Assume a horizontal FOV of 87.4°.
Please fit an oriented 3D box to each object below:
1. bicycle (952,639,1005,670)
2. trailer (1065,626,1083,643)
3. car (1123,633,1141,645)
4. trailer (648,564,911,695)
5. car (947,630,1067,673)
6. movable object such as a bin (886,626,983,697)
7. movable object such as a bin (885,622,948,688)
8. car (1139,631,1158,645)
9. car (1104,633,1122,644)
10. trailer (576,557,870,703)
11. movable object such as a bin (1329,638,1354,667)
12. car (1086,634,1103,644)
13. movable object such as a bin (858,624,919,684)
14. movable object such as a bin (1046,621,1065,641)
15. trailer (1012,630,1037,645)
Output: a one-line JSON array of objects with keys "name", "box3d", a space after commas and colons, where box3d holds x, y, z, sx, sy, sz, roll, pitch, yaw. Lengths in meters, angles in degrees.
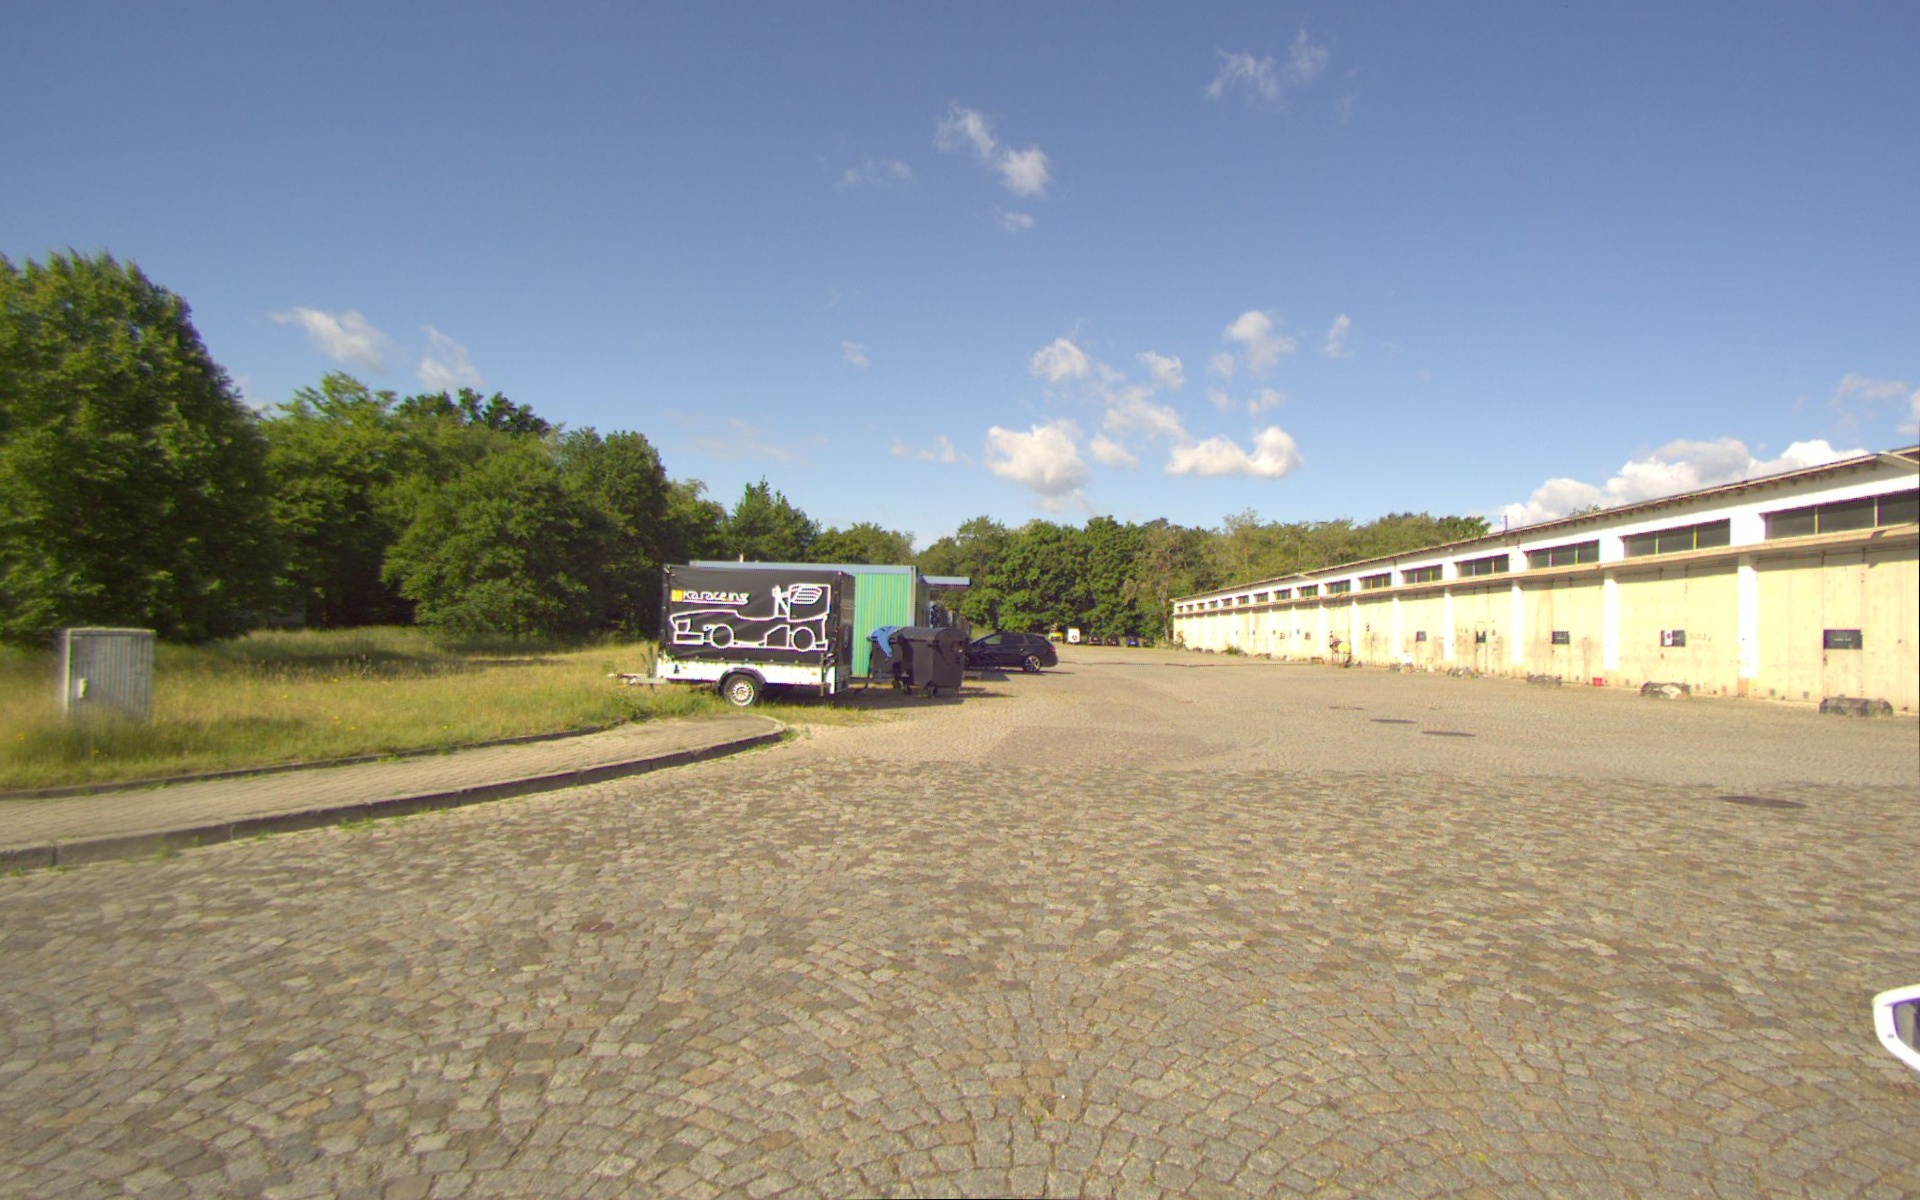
[{"name": "bicycle", "box3d": [0.663, 1.940, 35.843, 1.844, 1.041, 1.039, 1, -2, 0]}, {"name": "trailer", "box3d": [15.391, 4.656, 135.608, 1.960, 2.190, 4.433, 1, -2, 2]}, {"name": "car", "box3d": [22.995, 5.196, 134.379, 1.960, 1.485, 4.002, 1, -2, 2]}, {"name": "trailer", "box3d": [-3.496, 0.590, 20.248, 4.878, 2.385, 2.096, 1, -2, -1]}, {"name": "car", "box3d": [1.698, 1.891, 37.316, 4.342, 1.484, 2.000, 1, -2, -1]}, {"name": "movable object such as a bin", "box3d": [-0.545, 1.265, 21.170, 1.376, 1.404, 1.517, 3, -2, -42]}, {"name": "movable object such as a bin", "box3d": [-0.992, 1.266, 23.335, 1.274, 1.441, 1.537, 1, -2, 4]}, {"name": "car", "box3d": [25.373, 5.160, 135.518, 1.960, 1.796, 4.002, 1, -2, 2]}, {"name": "car", "box3d": [20.449, 5.186, 134.505, 1.960, 1.442, 4.002, 1, -2, 2]}, {"name": "trailer", "box3d": [-4.056, 0.524, 17.784, 4.576, 2.328, 2.138, 1, -2, 4]}, {"name": "movable object such as a bin", "box3d": [19.334, 2.632, 50.912, 0.860, 1.419, 1.102, 1, -2, 2]}, {"name": "car", "box3d": [17.949, 5.150, 134.245, 1.960, 1.275, 4.002, 1, -2, 2]}, {"name": "movable object such as a bin", "box3d": [-1.794, 1.325, 25.016, 1.361, 1.404, 1.533, 2, -2, -9]}, {"name": "movable object such as a bin", "box3d": [13.012, 4.240, 136.484, 2.195, 2.692, 4.001, 1, -1, 0]}, {"name": "trailer", "box3d": [7.525, 4.376, 117.385, 2.744, 1.667, 5.623, 1, -2, 2]}]
